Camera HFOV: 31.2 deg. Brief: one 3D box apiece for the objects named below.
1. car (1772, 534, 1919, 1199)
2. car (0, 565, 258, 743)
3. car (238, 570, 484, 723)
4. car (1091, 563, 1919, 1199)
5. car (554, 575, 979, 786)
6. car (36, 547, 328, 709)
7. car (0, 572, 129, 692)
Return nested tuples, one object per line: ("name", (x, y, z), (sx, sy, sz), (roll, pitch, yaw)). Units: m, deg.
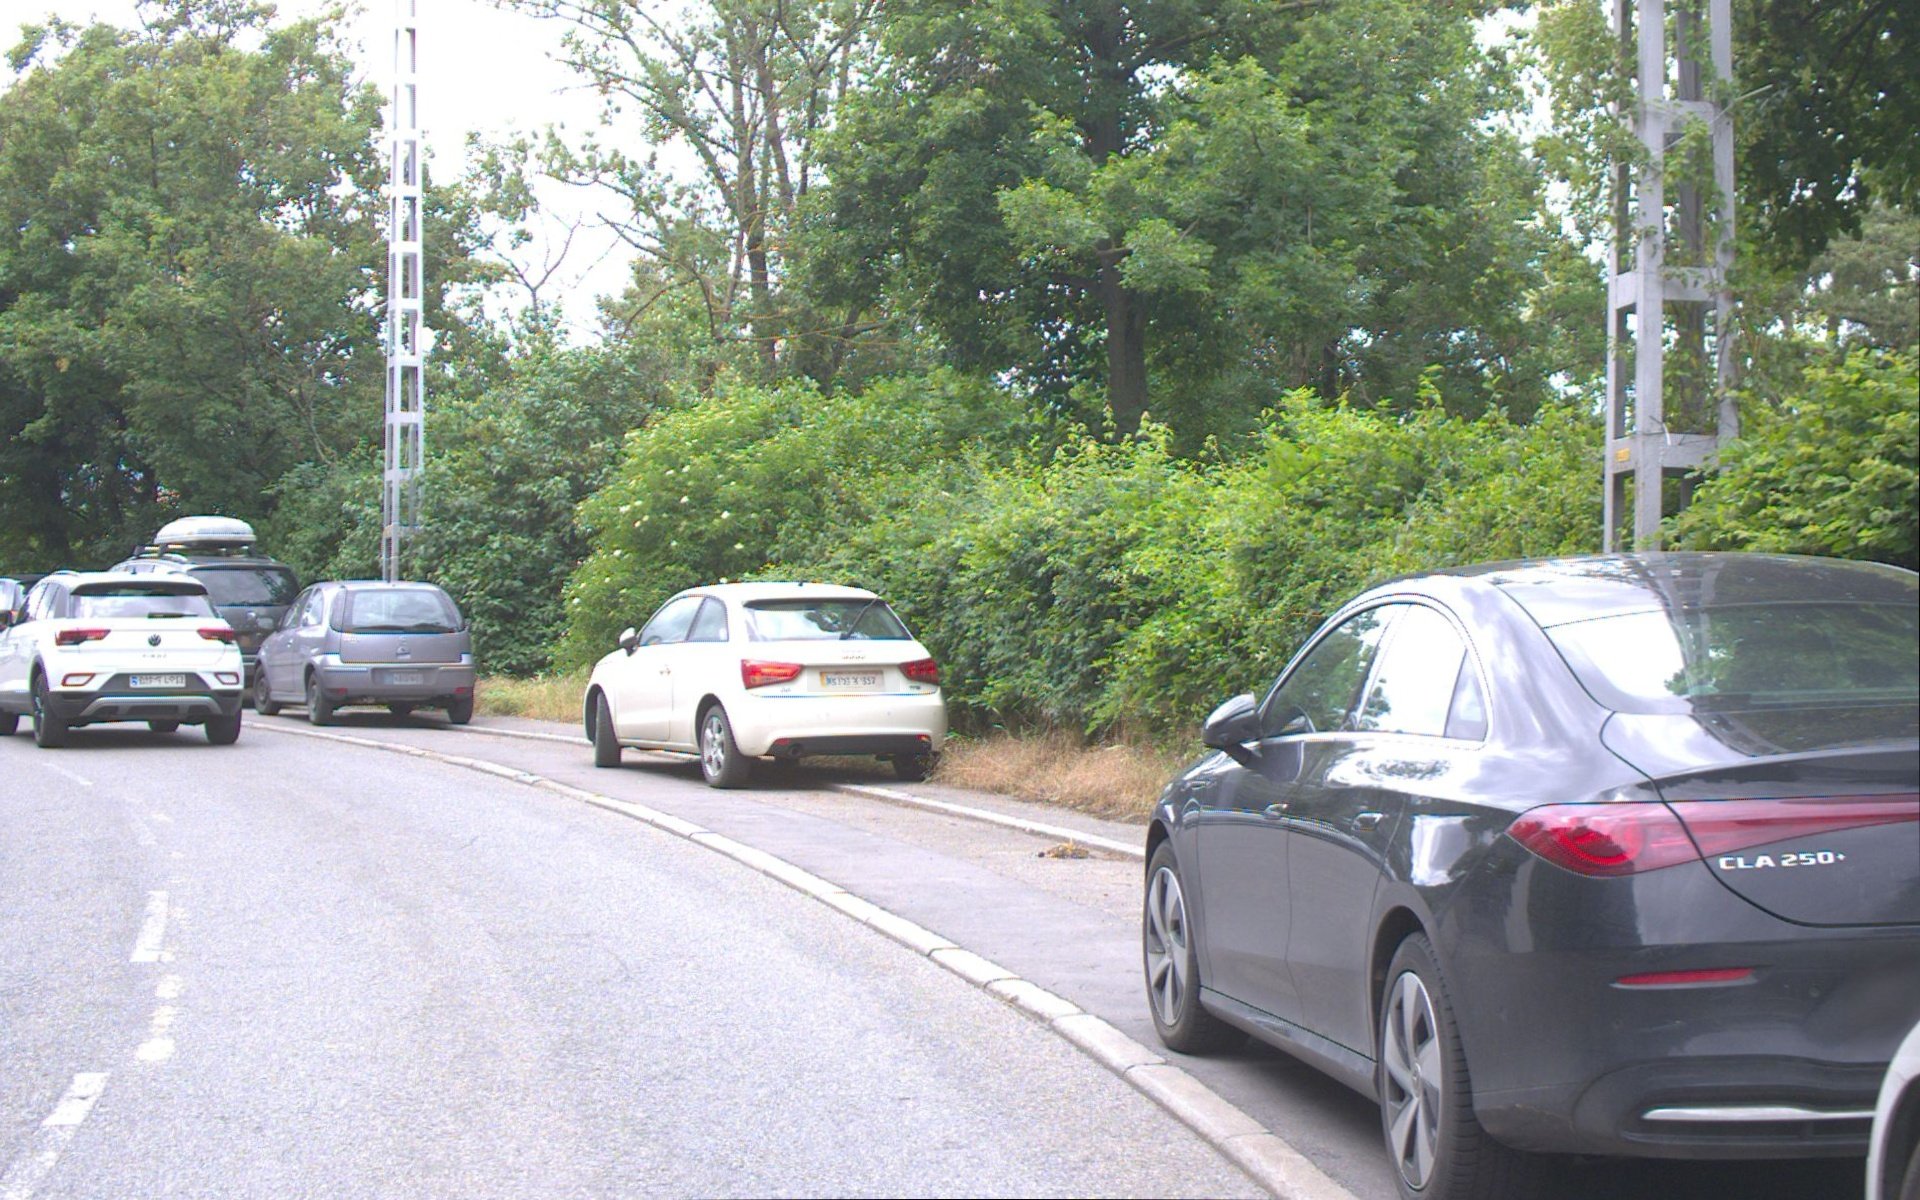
("car", (2.369, 0.628, 3.879), (1.700, 1.459, 3.835), (0, 0, -5))
("car", (-7.834, 0.451, 31.777), (1.866, 1.531, 3.804), (0, 0, -24))
("car", (-6.221, 0.459, 35.387), (1.640, 1.459, 4.001), (2, -1, -22))
("car", (1.599, 0.641, 8.883), (1.700, 1.459, 4.665), (0, 0, -8))
("car", (-1.525, 0.537, 25.513), (1.776, 1.413, 4.001), (-1, 0, -25))
("car", (-9.165, 0.299, 40.245), (1.798, 1.766, 4.607), (2, -1, -33))
("car", (-12.478, 0.396, 45.407), (1.659, 1.482, 4.035), (2, -1, -32))
